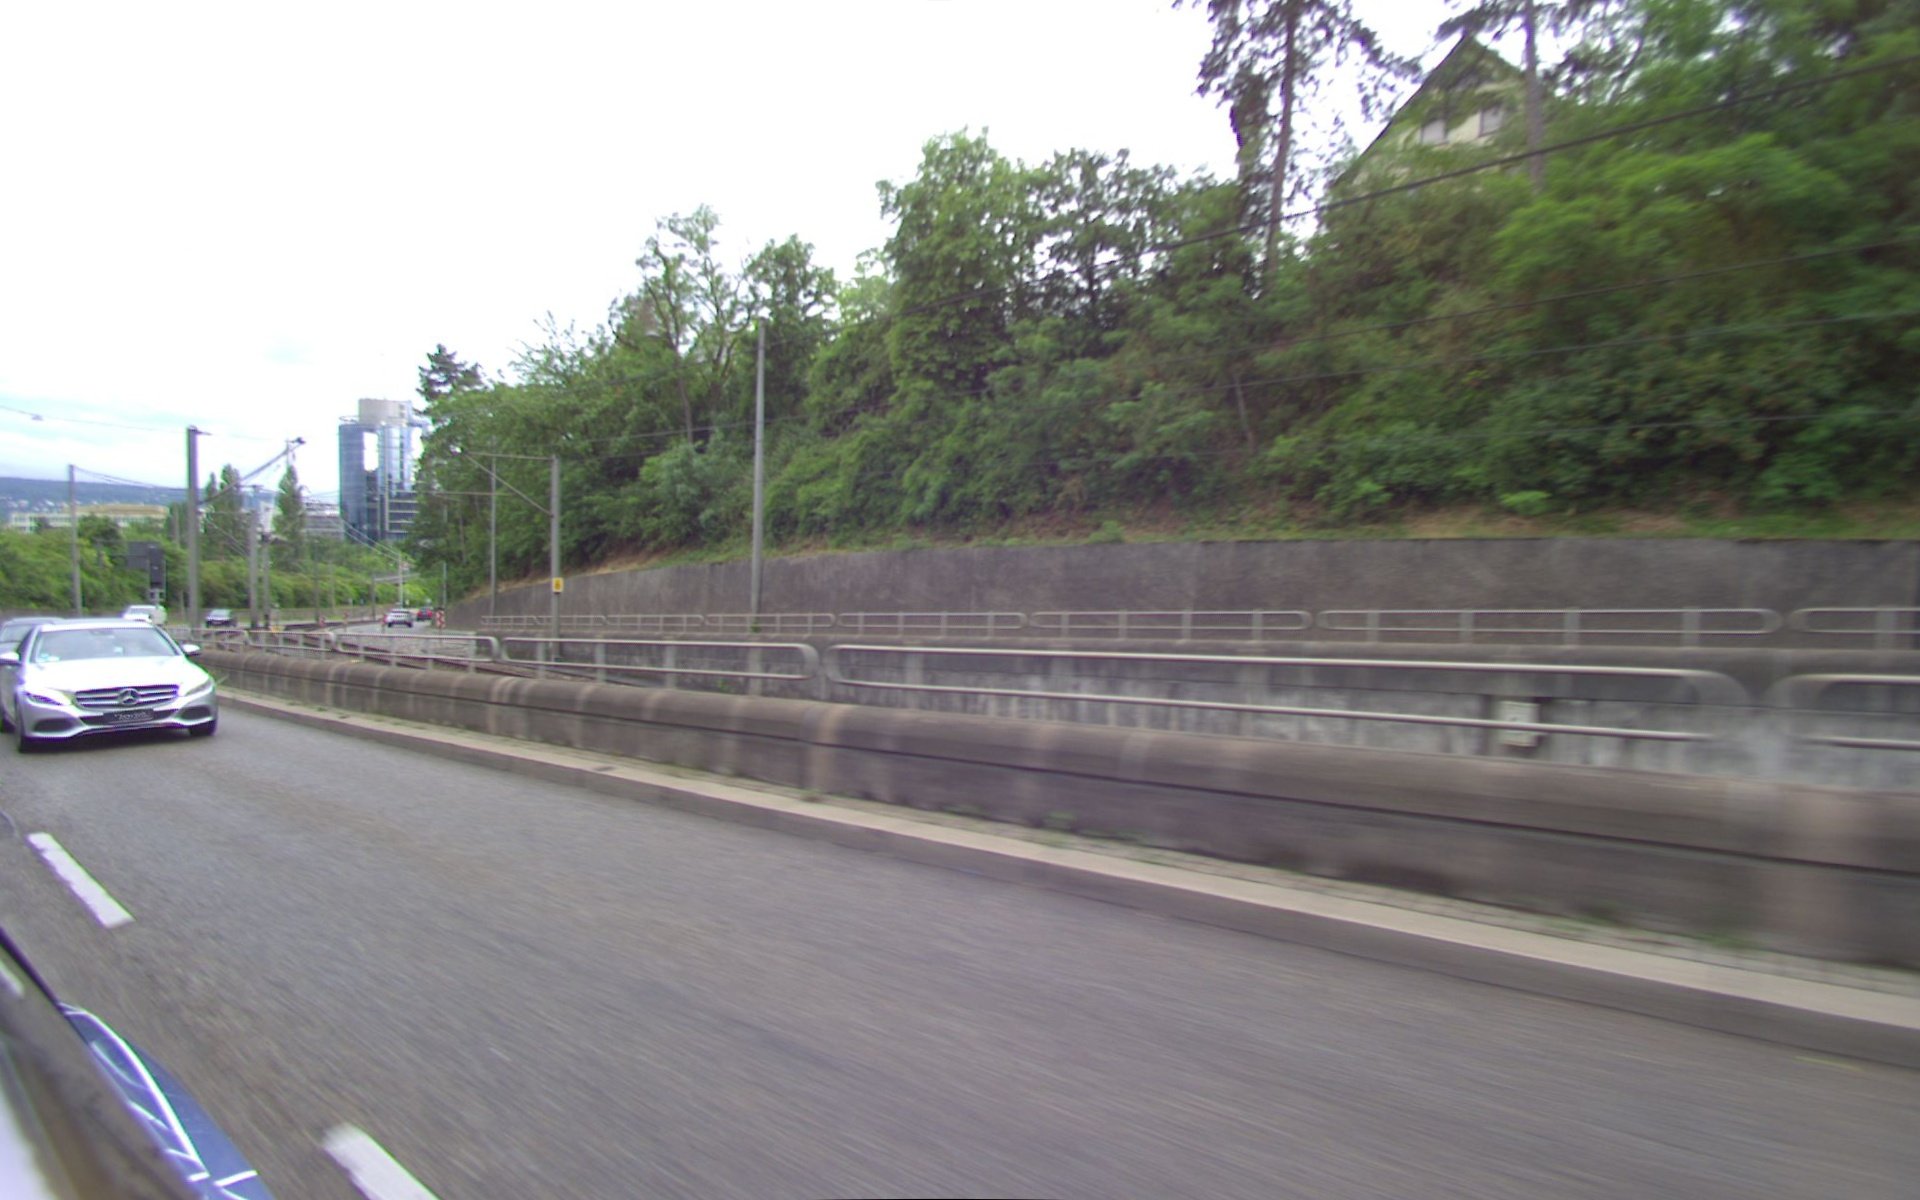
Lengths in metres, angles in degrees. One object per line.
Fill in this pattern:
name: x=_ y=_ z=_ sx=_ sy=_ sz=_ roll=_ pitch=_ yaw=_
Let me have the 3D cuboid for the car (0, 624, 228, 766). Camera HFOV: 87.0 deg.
car: x=-10.729 y=1.034 z=12.622 sx=4.315 sy=1.413 sz=1.836 roll=-1 pitch=0 yaw=44

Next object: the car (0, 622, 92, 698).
car: x=-19.738 y=1.232 z=21.638 sx=1.704 sy=1.482 sz=3.892 roll=1 pitch=-2 yaw=-42

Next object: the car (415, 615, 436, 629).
car: x=-68.650 y=2.840 z=130.047 sx=2.202 sy=1.845 sz=5.154 roll=0 pitch=-1 yaw=-26

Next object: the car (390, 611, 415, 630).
car: x=-51.390 y=1.859 z=93.363 sx=1.907 sy=1.696 sz=4.422 roll=0 pitch=-1 yaw=-28

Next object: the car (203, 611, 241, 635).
car: x=-64.455 y=1.971 z=88.454 sx=1.965 sy=2.029 sz=4.508 roll=0 pitch=-1 yaw=-27

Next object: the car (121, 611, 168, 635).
car: x=-61.689 y=1.713 z=76.594 sx=1.780 sy=1.521 sz=4.014 roll=-2 pitch=2 yaw=-24
